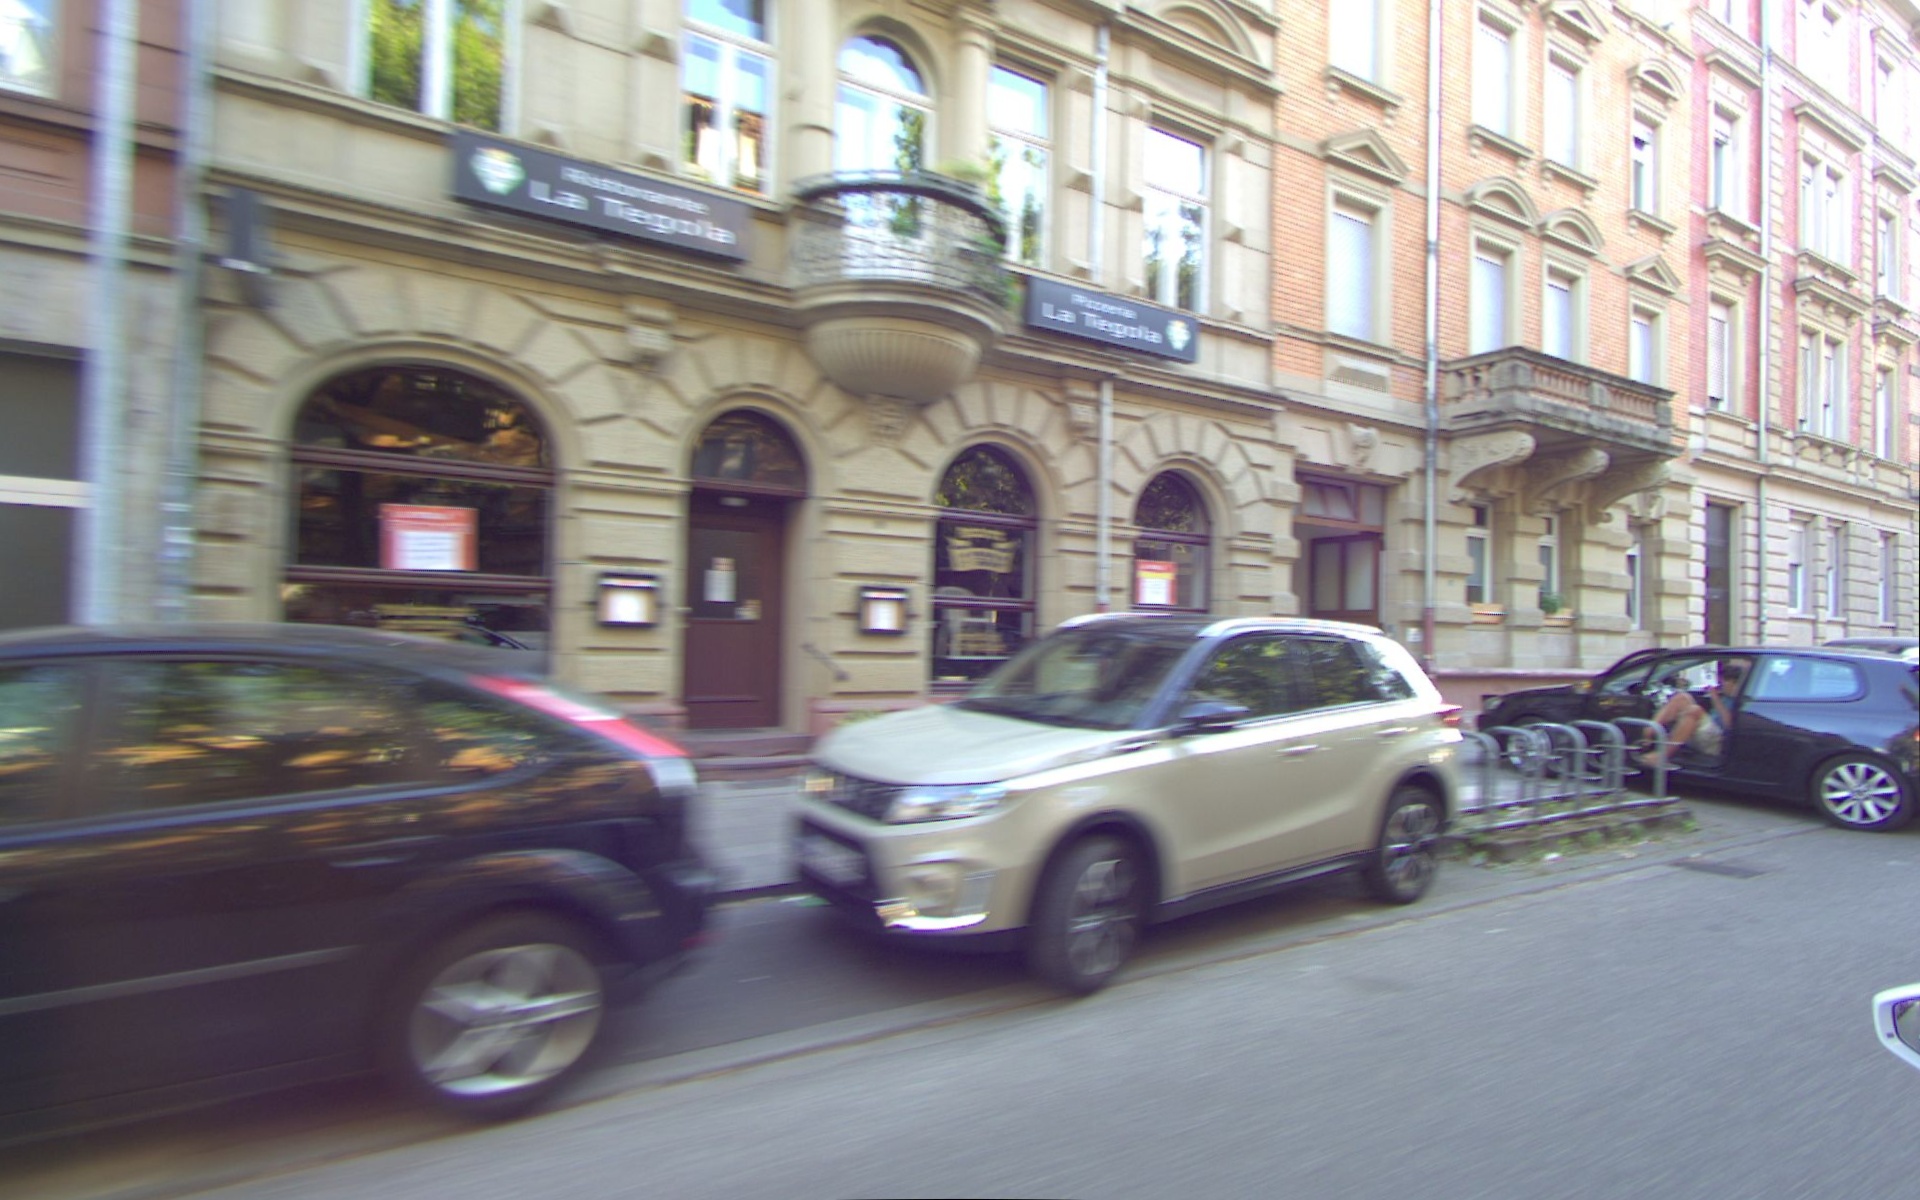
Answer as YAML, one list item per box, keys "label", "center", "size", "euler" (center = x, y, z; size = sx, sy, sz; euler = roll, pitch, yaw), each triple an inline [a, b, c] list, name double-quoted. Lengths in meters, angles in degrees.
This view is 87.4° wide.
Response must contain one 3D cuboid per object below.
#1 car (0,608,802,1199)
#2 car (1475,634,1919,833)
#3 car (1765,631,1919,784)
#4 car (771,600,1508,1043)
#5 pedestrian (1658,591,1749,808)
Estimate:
- label: "car"
  center: [-2.681, 0.811, 3.218]
  size: [3.955, 1.492, 1.639]
  euler: [2, 1, -31]
- label: "car"
  center: [7.349, 1.111, 9.593]
  size: [1.808, 1.549, 3.960]
  euler: [2, -3, -36]
- label: "car"
  center: [11.428, 1.186, 11.876]
  size: [3.849, 1.588, 1.733]
  euler: [2, -2, -30]
- label: "car"
  center: [1.166, 0.872, 5.549]
  size: [4.009, 1.595, 1.636]
  euler: [2, 1, -35]
- label: "pedestrian"
  center: [6.839, 0.886, 9.269]
  size: [0.629, 1.912, 0.590]
  euler: [-1, -2, 34]
